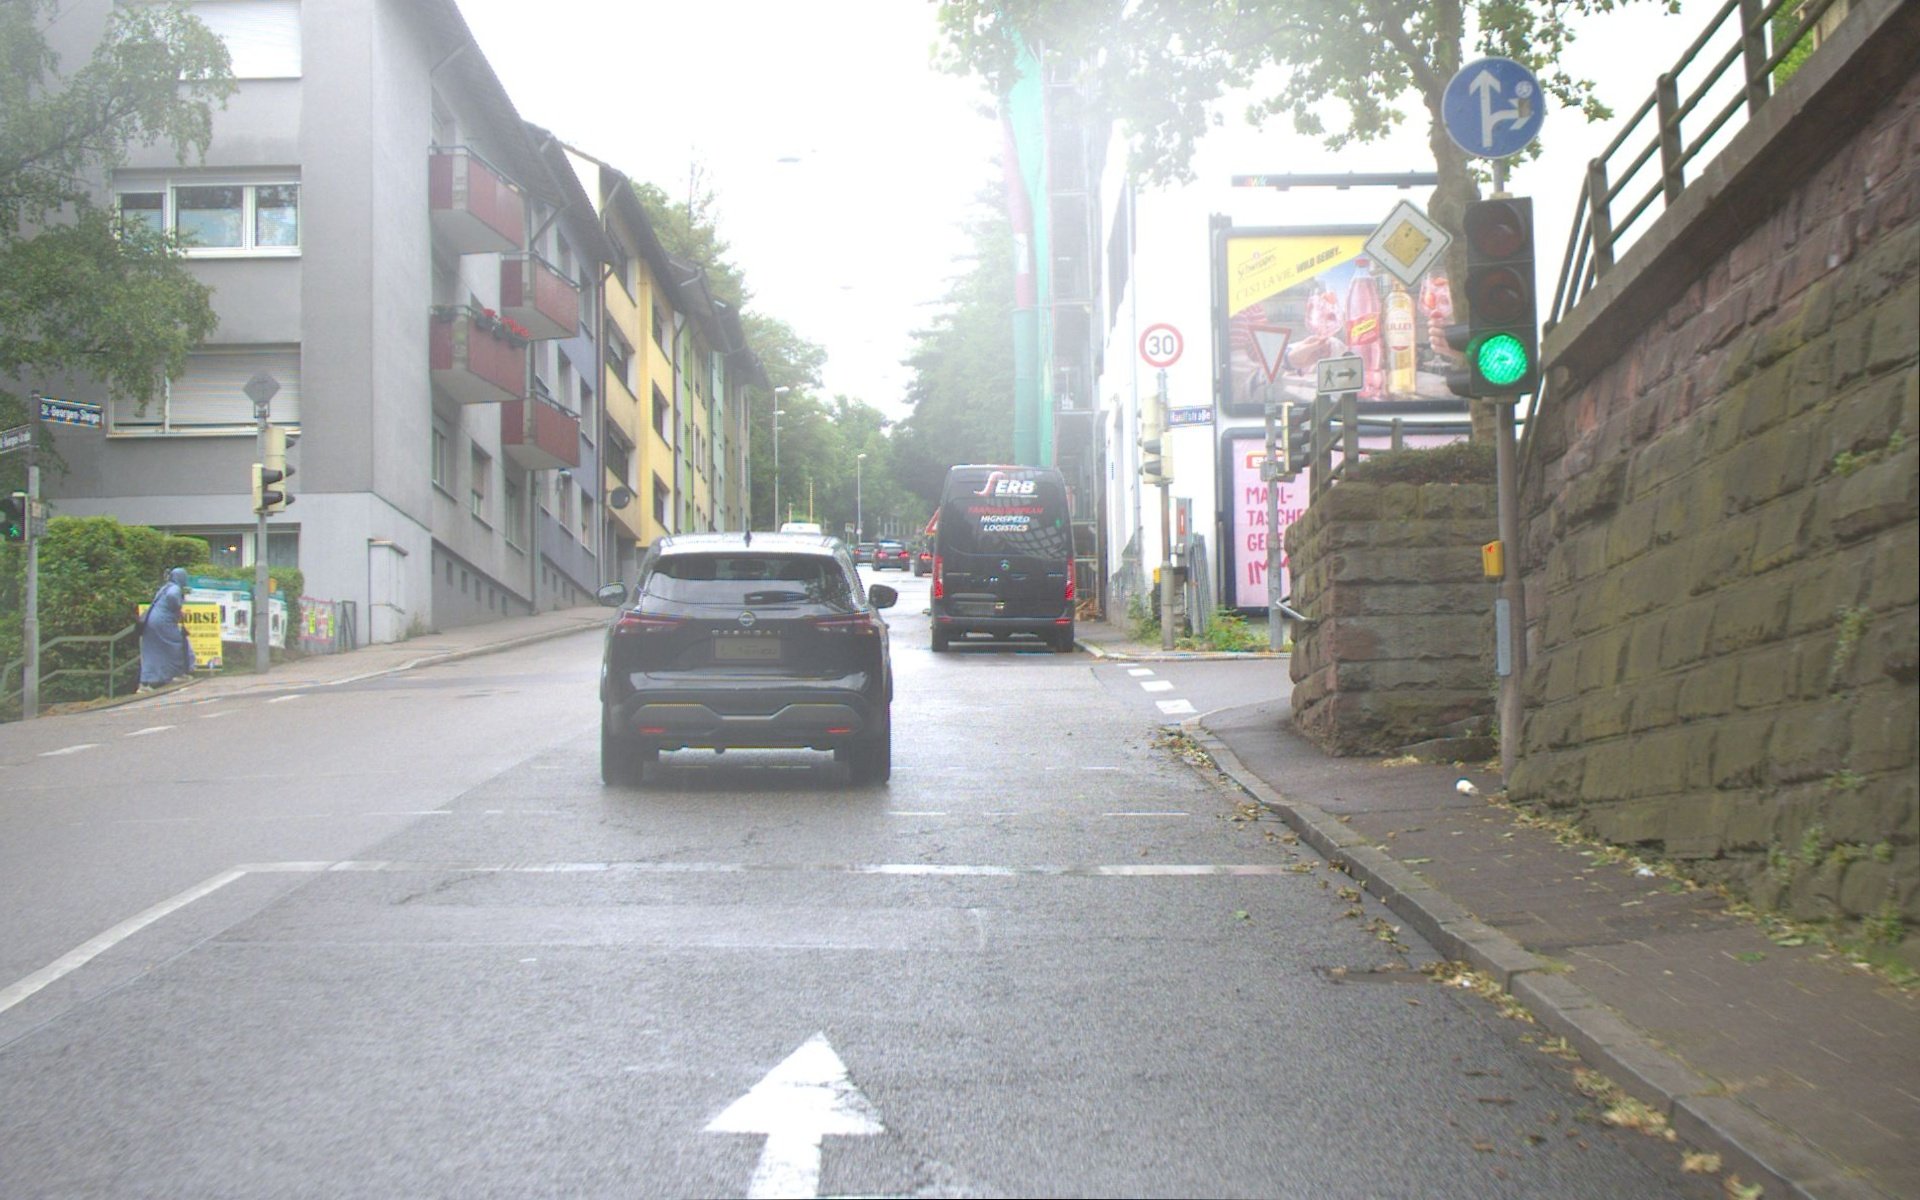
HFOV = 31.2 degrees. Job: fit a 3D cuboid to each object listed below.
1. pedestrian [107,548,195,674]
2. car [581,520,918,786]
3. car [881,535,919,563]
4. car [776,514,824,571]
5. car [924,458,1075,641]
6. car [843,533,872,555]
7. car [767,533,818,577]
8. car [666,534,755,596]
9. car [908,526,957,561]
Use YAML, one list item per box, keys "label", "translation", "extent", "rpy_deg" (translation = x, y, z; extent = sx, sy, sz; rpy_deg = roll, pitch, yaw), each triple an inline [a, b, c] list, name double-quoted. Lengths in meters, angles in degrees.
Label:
- label: "pedestrian"
  translation: [-10.065, 0.144, 42.805]
  extent: [0.869, 1.536, 1.087]
  rpy_deg: [1, -1, -3]
- label: "car"
  translation: [-1.299, 0.276, 22.816]
  extent: [1.993, 1.554, 4.000]
  rpy_deg: [1, 2, 0]
- label: "car"
  translation: [-3.348, -2.863, 192.372]
  extent: [2.074, 1.554, 4.000]
  rpy_deg: [0, 1, -1]
- label: "car"
  translation: [-7.054, -2.568, 152.332]
  extent: [1.990, 2.466, 5.785]
  rpy_deg: [-1, 1, -1]
- label: "car"
  translation: [0.538, -0.647, 49.290]
  extent: [1.993, 2.406, 5.836]
  rpy_deg: [1, -1, 0]
- label: "car"
  translation: [-7.353, -4.035, 247.682]
  extent: [2.074, 1.554, 4.000]
  rpy_deg: [0, 1, -1]
- label: "car"
  translation: [-6.932, -1.889, 142.808]
  extent: [1.990, 1.749, 4.480]
  rpy_deg: [-1, 1, -1]
- label: "car"
  translation: [-6.988, -1.002, 96.659]
  extent: [1.993, 1.644, 4.441]
  rpy_deg: [-1, 1, 2]
- label: "car"
  translation: [-1.240, -2.541, 153.972]
  extent: [2.074, 1.554, 4.000]
  rpy_deg: [0, 1, -2]
